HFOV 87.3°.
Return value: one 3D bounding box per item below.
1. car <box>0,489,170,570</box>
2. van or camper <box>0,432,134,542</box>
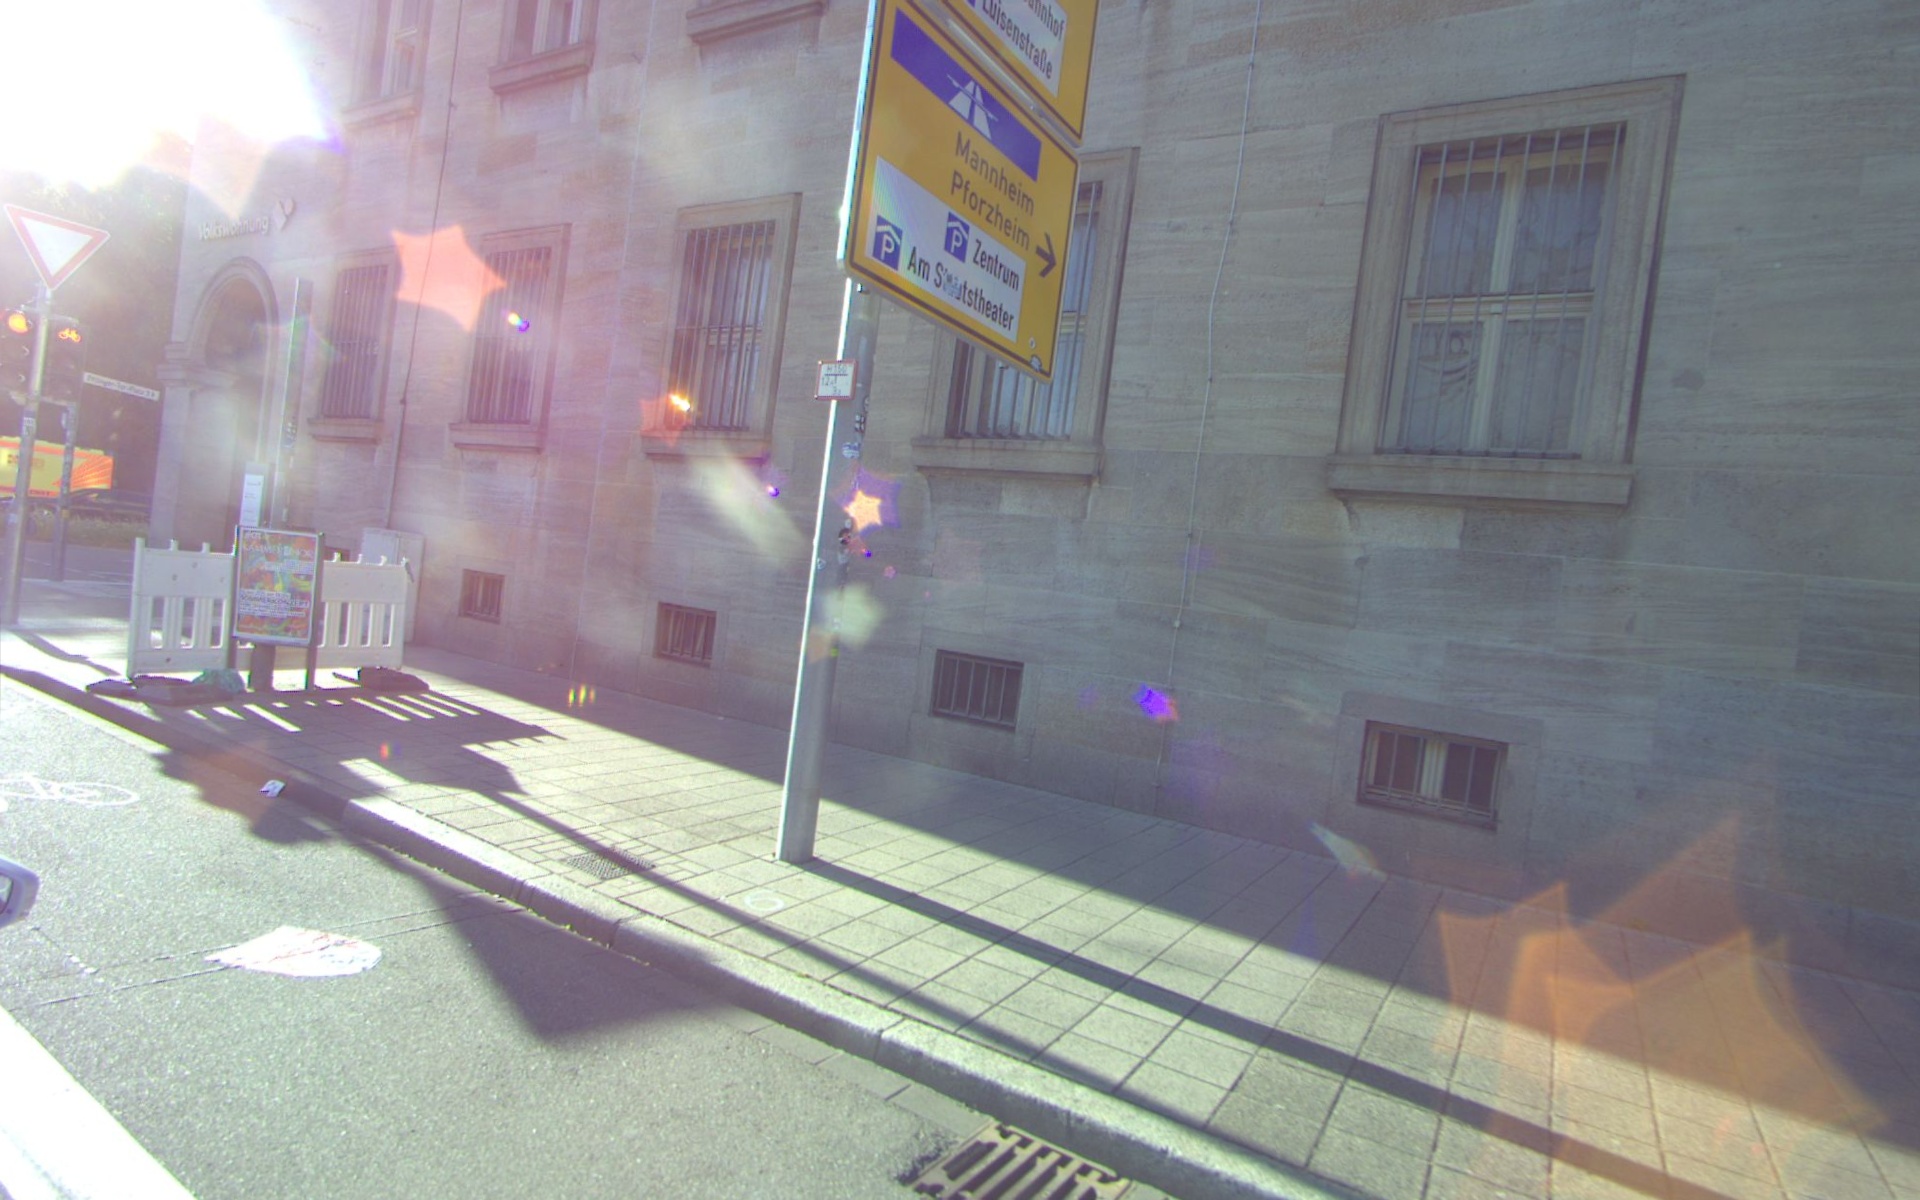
[{"bbox_3d":[-26.120,-2.079,29.355,1.857,1.665,4.324,7,-3,32],"label":"car"},{"bbox_3d":[-30.986,-3.887,31.856,2.866,2.893,6.716,6,-3,36],"label":"van or camper"}]
